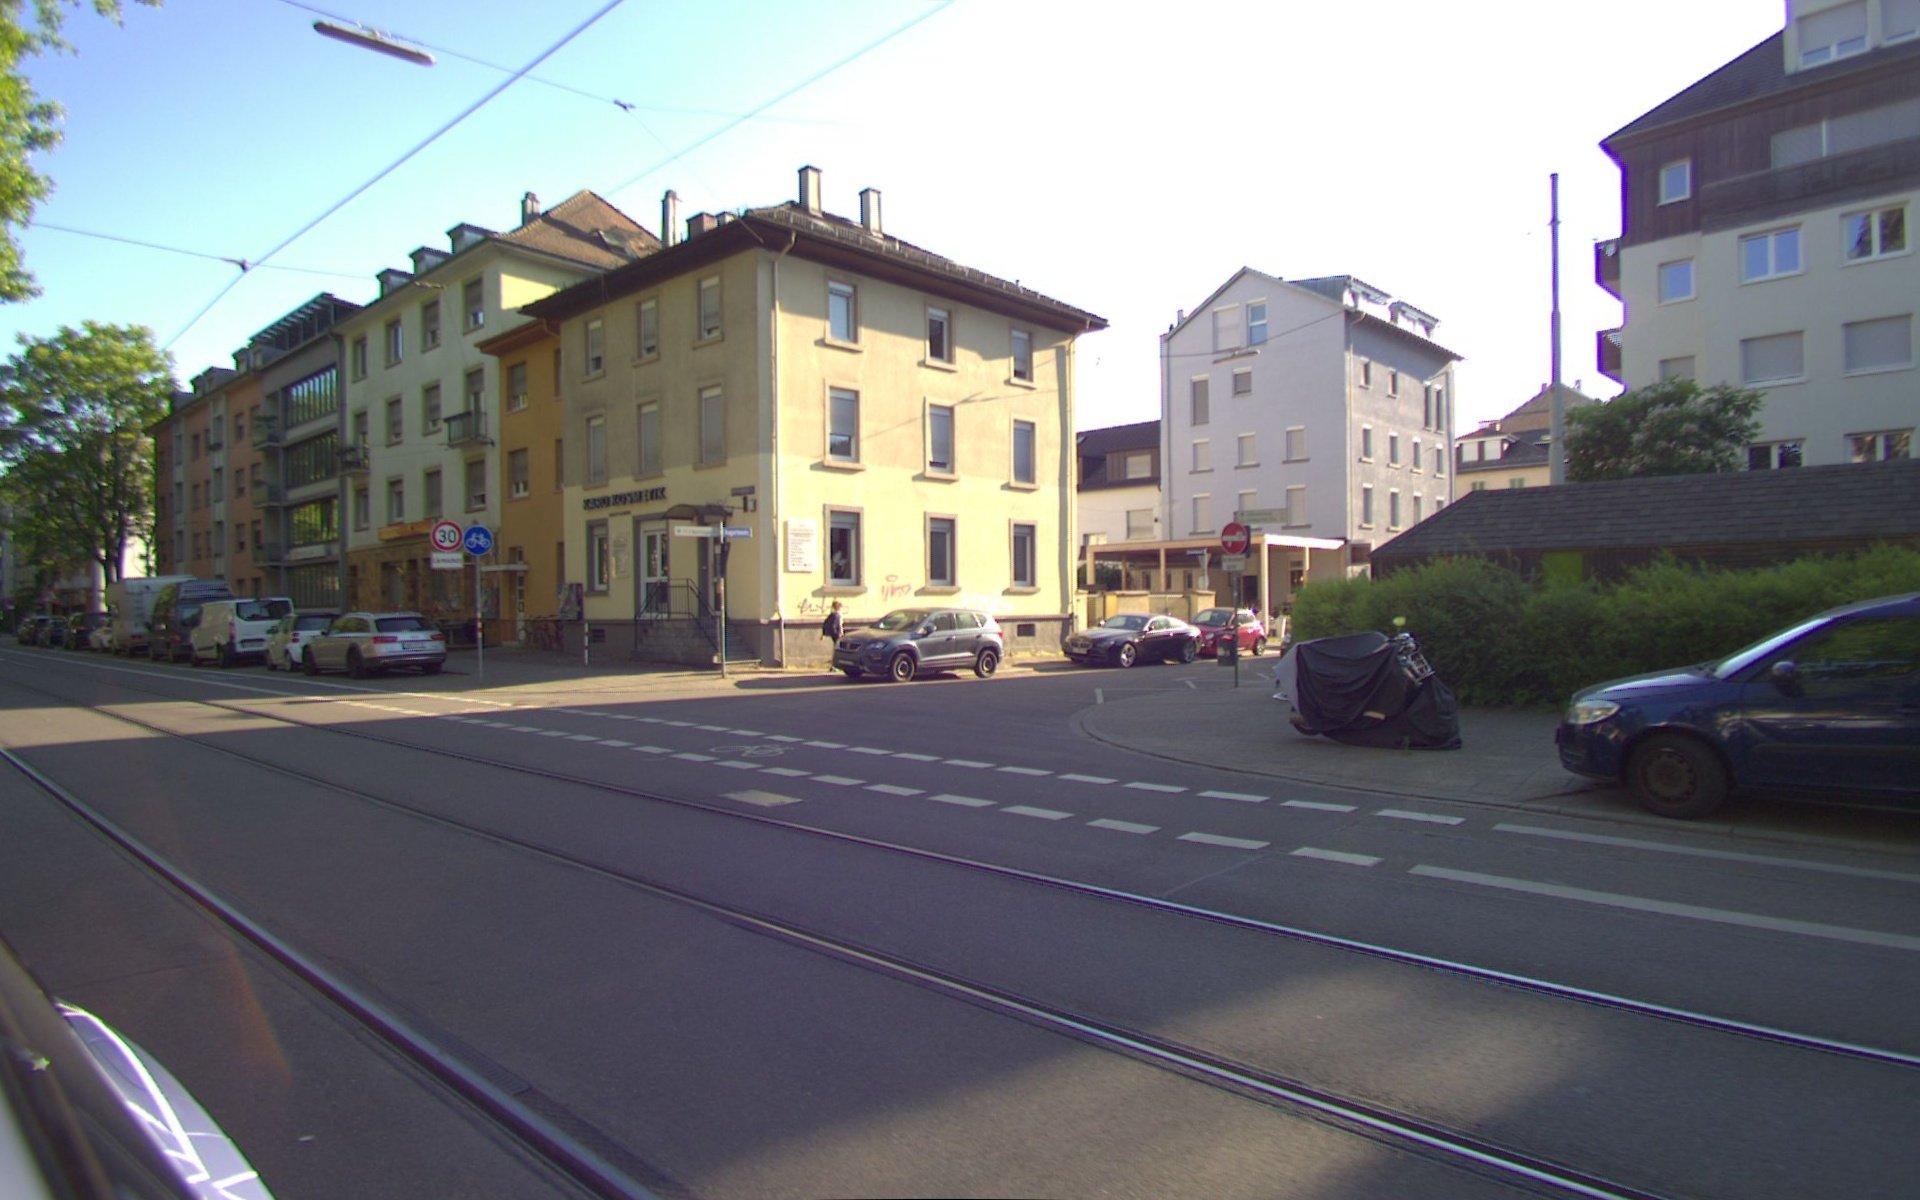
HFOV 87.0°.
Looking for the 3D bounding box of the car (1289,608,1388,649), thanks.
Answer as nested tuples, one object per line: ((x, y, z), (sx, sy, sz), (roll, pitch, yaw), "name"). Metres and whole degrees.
((14.006, 1.024, 37.355), (1.967, 1.434, 4.016), (-1, -1, 44), "car")

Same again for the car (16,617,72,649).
((-51.684, 1.831, 57.067), (4.431, 1.682, 1.768), (-1, 0, 40), "car")

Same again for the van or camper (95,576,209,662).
((-31.760, 0.713, 39.719), (5.989, 2.999, 2.392), (-1, 3, 42), "van or camper")

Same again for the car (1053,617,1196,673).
((4.607, 1.183, 27.986), (1.967, 1.400, 4.016), (-1, -1, 44), "car")

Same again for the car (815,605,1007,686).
((-1.025, 0.942, 22.577), (1.967, 1.630, 4.016), (-1, -1, 44), "car")

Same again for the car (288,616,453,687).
((-14.245, 1.168, 24.332), (4.935, 1.504, 1.754), (-1, 0, 39), "car")

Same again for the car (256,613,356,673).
((-17.777, 1.138, 27.490), (2.881, 1.504, 1.554), (-1, 0, 41), "car")

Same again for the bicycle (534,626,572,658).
((-12.072, 1.230, 30.018), (1.646, 0.935, 0.357), (-1, -1, 42), "bicycle")

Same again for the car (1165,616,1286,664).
((8.464, 1.231, 32.095), (1.967, 1.399, 4.016), (-1, -1, 44), "car")

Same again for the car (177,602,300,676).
((-22.344, 1.162, 31.276), (4.937, 2.062, 1.903), (-1, 0, 40), "car")

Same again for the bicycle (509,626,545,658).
((-13.324, 1.283, 31.148), (1.646, 0.935, 0.357), (-1, -1, 42), "bicycle")

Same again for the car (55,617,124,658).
((-40.822, 1.739, 47.434), (4.431, 1.767, 1.768), (-1, 0, 40), "car")

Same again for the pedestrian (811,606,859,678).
((-2.883, 0.950, 23.303), (0.753, 1.599, 0.764), (3, 2, 44), "pedestrian")

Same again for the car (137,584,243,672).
((-26.747, 0.938, 35.110), (4.544, 2.766, 1.903), (-1, 3, 42), "car")

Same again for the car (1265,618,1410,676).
((9.303, 1.096, 24.765), (1.882, 1.263, 4.016), (-1, -1, 44), "car")

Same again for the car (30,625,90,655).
((-48.239, 2.116, 54.204), (4.431, 1.482, 1.768), (-1, 0, 40), "car")

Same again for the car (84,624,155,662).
((-36.273, 1.828, 43.674), (3.470, 1.526, 1.768), (-1, 0, 40), "car")

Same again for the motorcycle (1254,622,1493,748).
((4.242, 0.858, 10.519), (2.150, 1.148, 0.665), (-4, 0, 44), "motorcycle")

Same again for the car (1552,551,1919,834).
((6.584, 0.557, 6.694), (4.262, 1.703, 1.970), (-1, -1, 44), "car")
